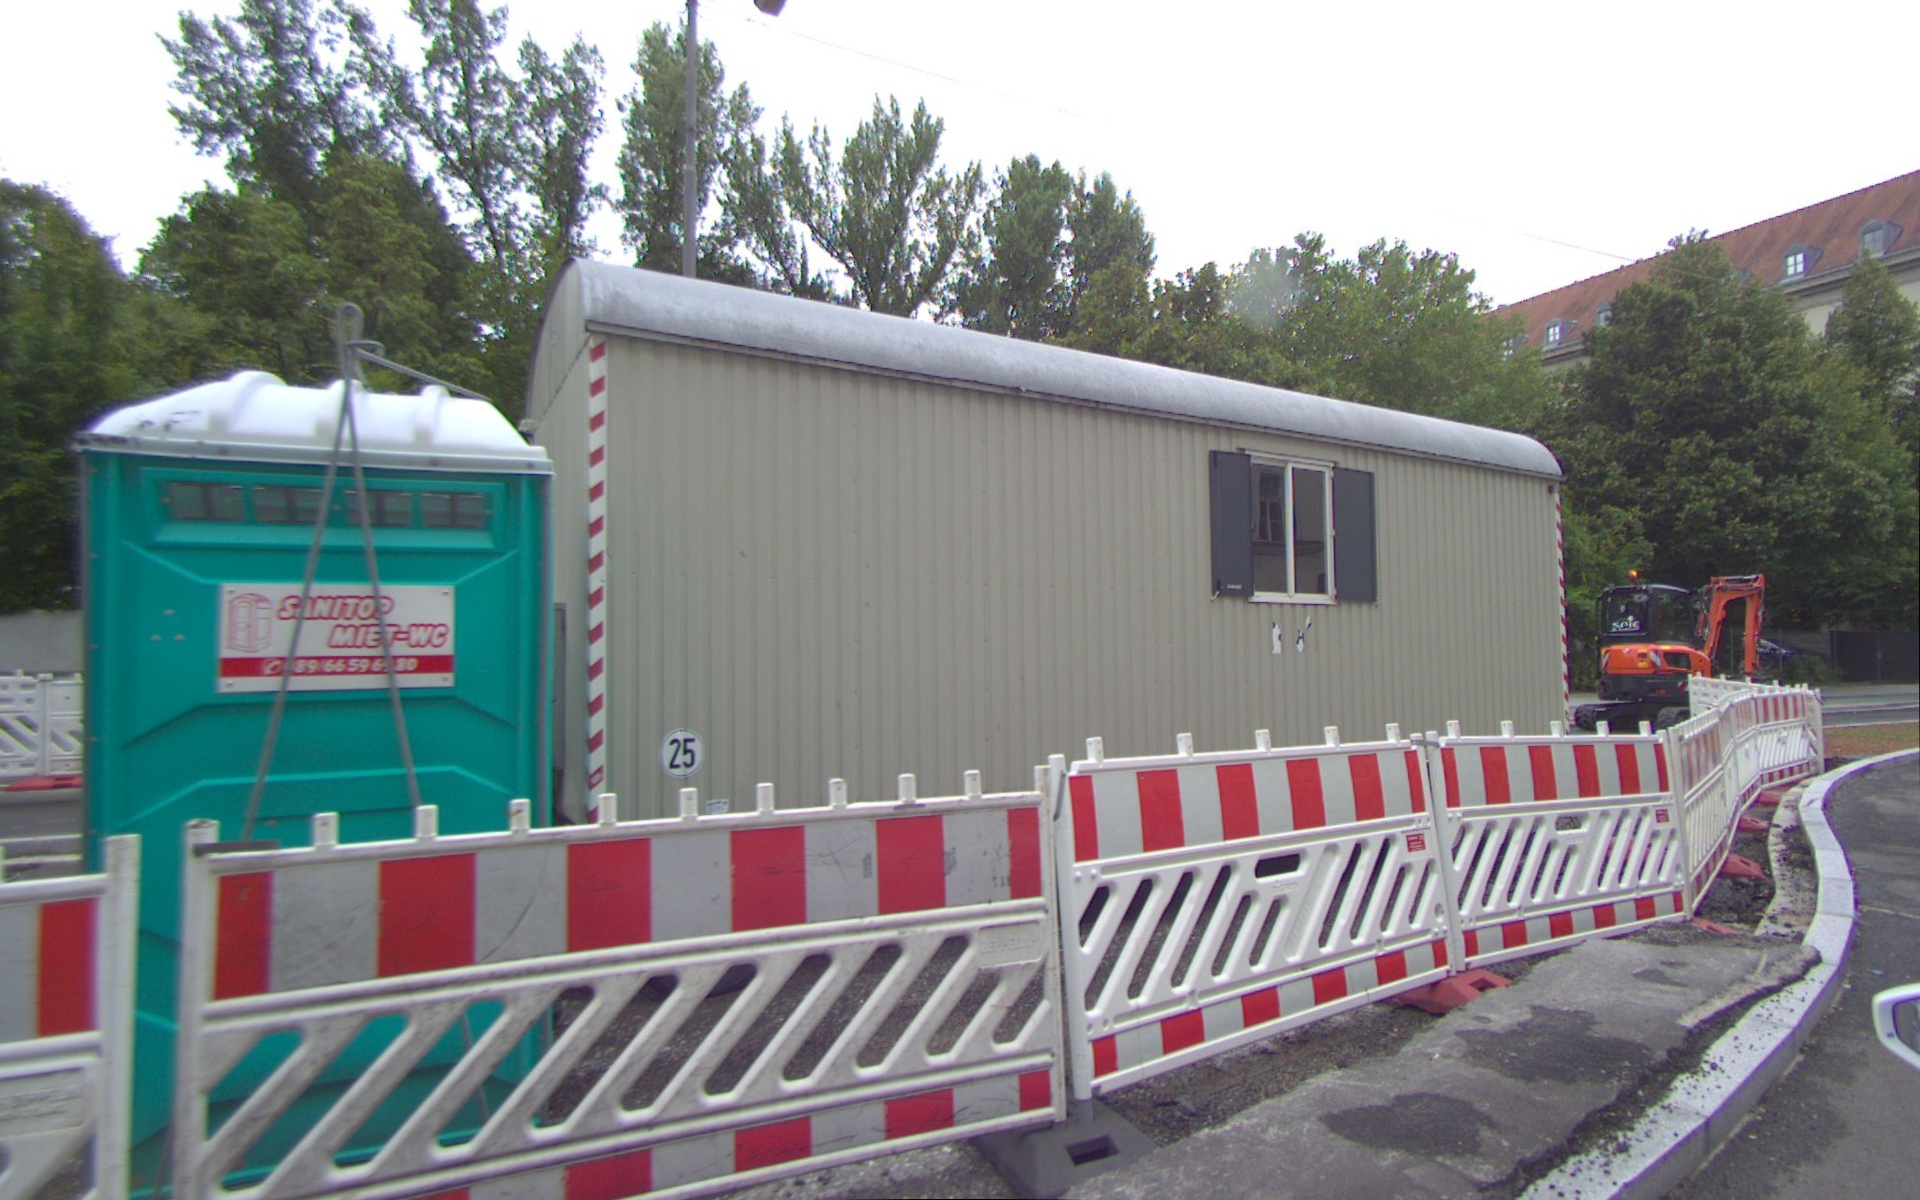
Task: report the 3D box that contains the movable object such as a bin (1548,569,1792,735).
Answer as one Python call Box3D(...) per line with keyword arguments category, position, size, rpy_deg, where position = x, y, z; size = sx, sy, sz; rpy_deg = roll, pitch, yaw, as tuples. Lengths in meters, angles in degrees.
Box3D(category="movable object such as a bin", position=(12.929, 0.914, 18.227), size=(4.615, 2.675, 1.983), rpy_deg=(1, -3, -32))

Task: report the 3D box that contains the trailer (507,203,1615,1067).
Box3D(category="trailer", position=(1.167, 0.216, 6.668), size=(7.430, 3.286, 2.216), rpy_deg=(1, -2, -30))
